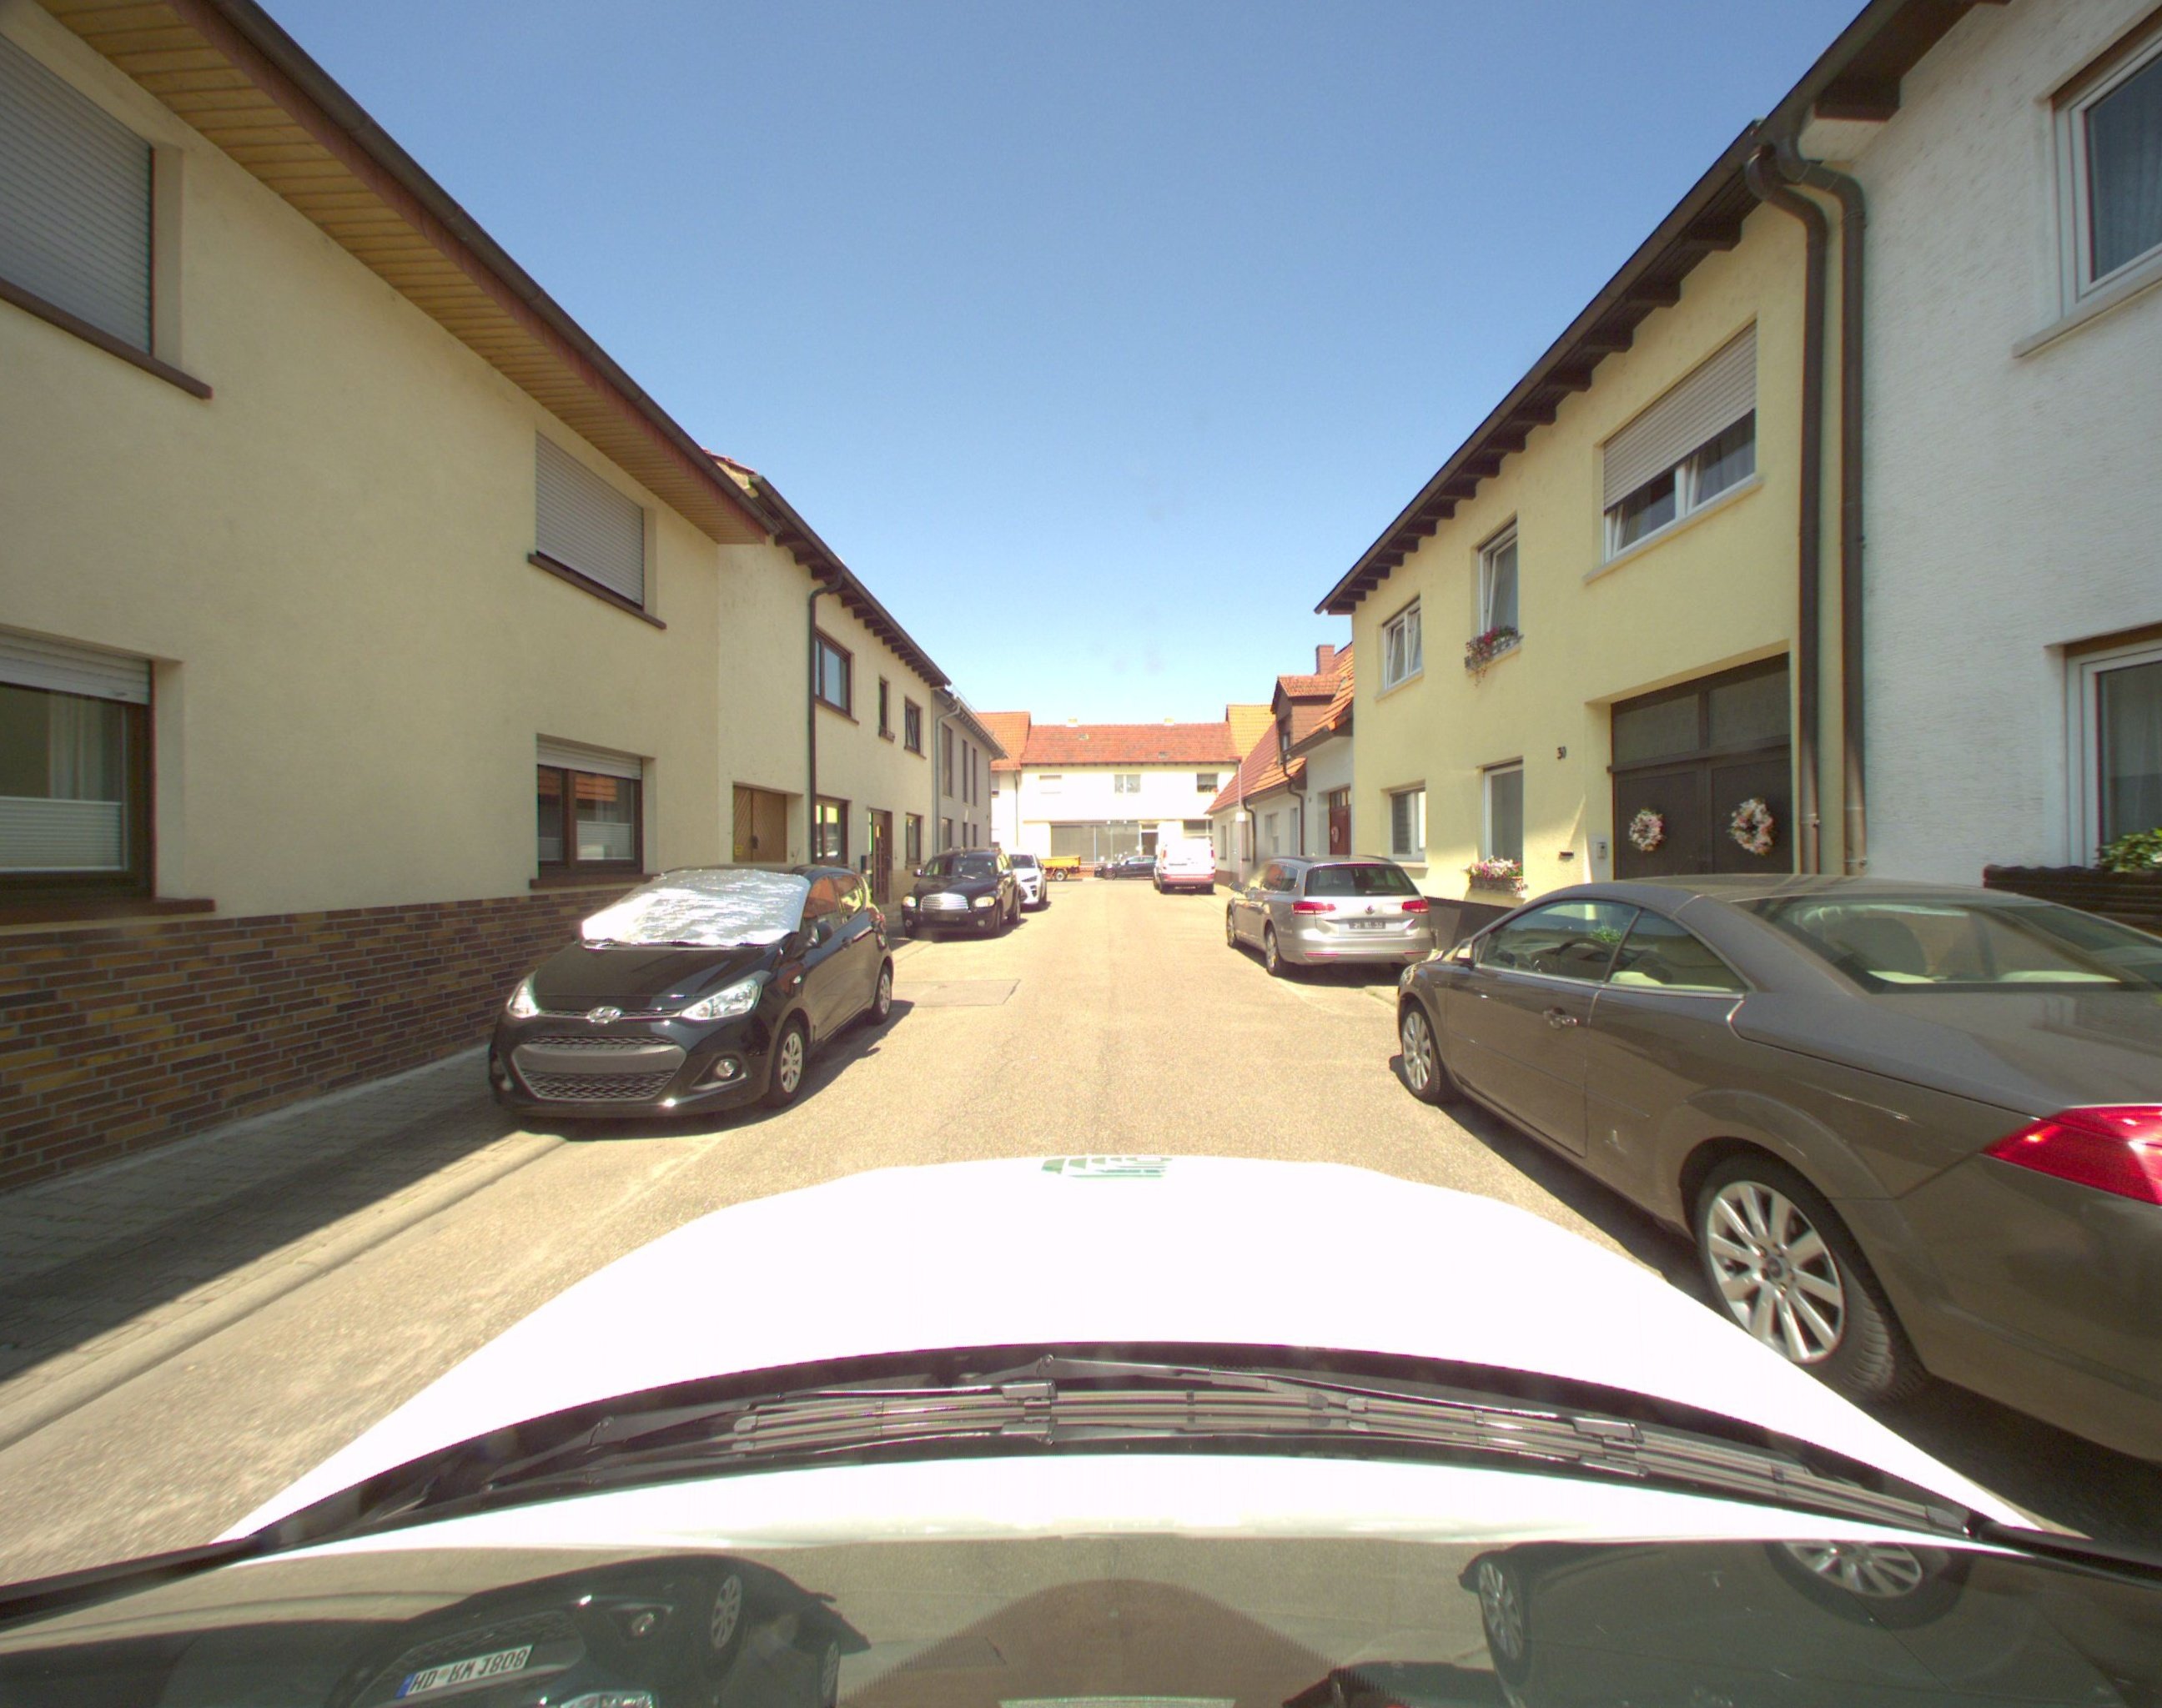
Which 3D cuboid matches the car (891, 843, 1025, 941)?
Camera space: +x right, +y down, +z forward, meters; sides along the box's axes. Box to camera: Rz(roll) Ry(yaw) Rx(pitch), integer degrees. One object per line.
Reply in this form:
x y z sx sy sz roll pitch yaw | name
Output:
-2.222 0.642 15.764 1.715 1.615 3.993 -2 0 3 | car

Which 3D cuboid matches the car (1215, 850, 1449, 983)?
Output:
3.157 0.686 11.336 1.832 1.448 4.776 0 0 1 | car

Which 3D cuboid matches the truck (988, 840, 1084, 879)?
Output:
-2.407 0.304 44.364 5.044 2.014 2.190 0 -1 1 | truck

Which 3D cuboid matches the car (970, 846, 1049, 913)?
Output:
-1.837 0.635 22.242 1.768 1.615 4.347 -2 0 -1 | car

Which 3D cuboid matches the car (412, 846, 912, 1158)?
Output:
-2.537 0.751 6.107 1.634 1.537 3.942 -2 0 0 | car

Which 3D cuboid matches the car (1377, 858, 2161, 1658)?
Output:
2.842 0.750 3.504 1.691 1.435 4.103 0 0 1 | car

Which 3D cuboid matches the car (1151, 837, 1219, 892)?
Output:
3.701 0.347 29.848 2.005 1.839 5.267 0 0 2 | car

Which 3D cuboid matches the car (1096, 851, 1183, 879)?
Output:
3.132 0.620 44.225 4.601 1.394 1.927 0 -3 0 | car
